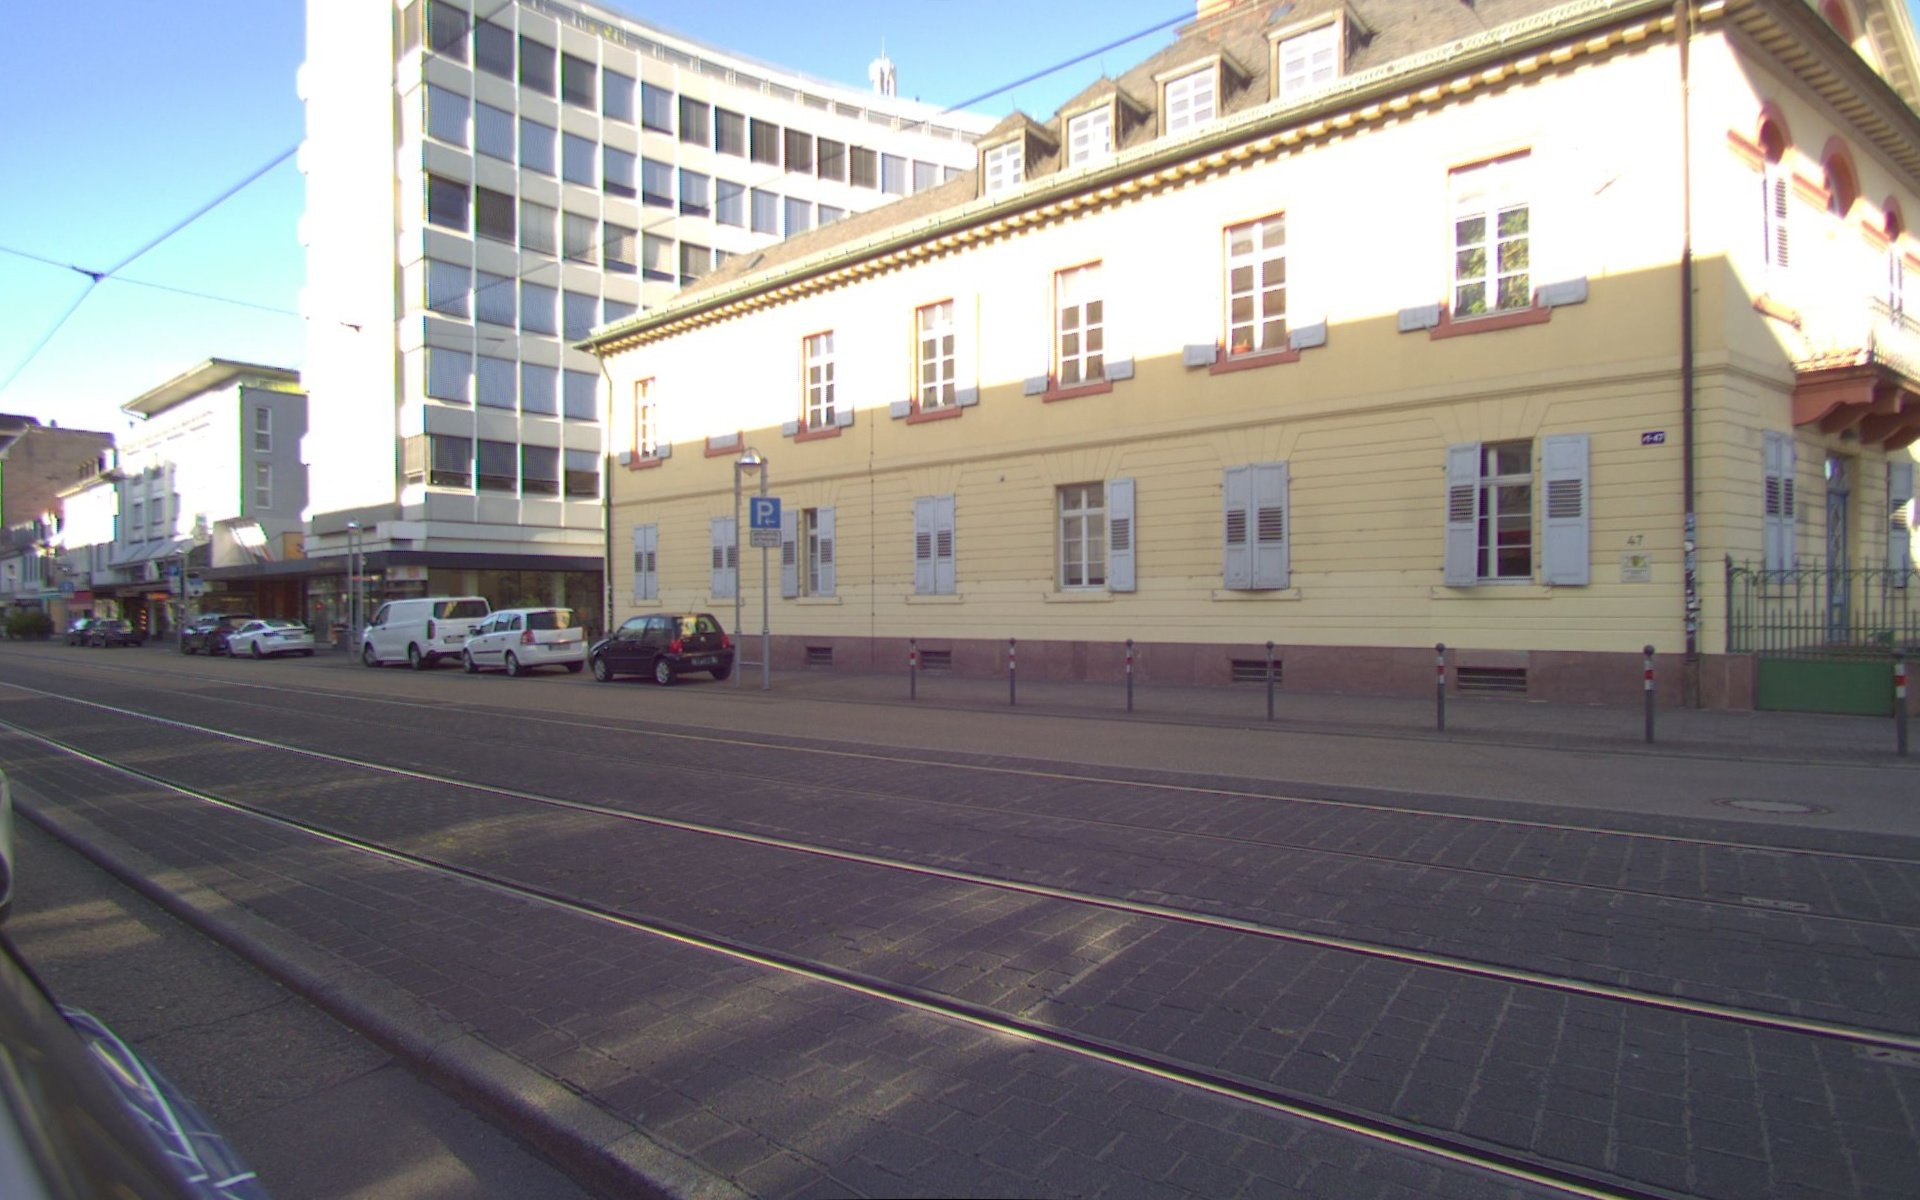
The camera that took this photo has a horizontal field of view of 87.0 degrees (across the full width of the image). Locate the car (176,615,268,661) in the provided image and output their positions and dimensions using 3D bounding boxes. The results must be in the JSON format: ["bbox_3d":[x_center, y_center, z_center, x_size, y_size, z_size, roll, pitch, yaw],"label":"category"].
[{"bbox_3d":[-29.918,1.491,40.978,4.103,1.717,1.975,-1,0,38],"label":"car"}]

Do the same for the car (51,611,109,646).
[{"bbox_3d":[-50.224,1.604,57.756,3.994,1.896,1.768,-1,-1,38],"label":"car"}]

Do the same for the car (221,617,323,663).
[{"bbox_3d":[-25.633,1.445,37.637,4.369,1.541,1.974,-1,0,39],"label":"car"}]

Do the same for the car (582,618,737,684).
[{"bbox_3d":[-6.413,1.025,21.504,3.210,1.263,1.667,-1,0,39],"label":"car"}]

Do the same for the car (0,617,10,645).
[{"bbox_3d":[-71.291,2.272,74.255,3.998,2.029,1.973,-1,-1,41],"label":"car"}]

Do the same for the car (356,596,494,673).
[{"bbox_3d":[-15.362,0.970,28.960,4.619,2.029,2.014,-1,-1,41],"label":"car"}]

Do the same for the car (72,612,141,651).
[{"bbox_3d":[-43.965,1.589,52.122,3.995,1.874,1.974,-1,0,38],"label":"car"}]

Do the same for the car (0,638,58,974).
[{"bbox_3d":[-6.076,0.901,4.830,3.992,1.393,1.862,-1,0,36],"label":"car"}]

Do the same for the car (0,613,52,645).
[{"bbox_3d":[-62.912,1.954,68.025,3.996,2.058,2.172,-1,-1,39],"label":"car"}]

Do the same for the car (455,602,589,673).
[{"bbox_3d":[-11.055,0.891,25.414,4.005,1.621,1.619,-1,0,43],"label":"car"}]

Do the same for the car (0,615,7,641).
[{"bbox_3d":[-78.760,2.262,81.819,3.995,2.029,1.974,-1,0,38],"label":"car"}]
